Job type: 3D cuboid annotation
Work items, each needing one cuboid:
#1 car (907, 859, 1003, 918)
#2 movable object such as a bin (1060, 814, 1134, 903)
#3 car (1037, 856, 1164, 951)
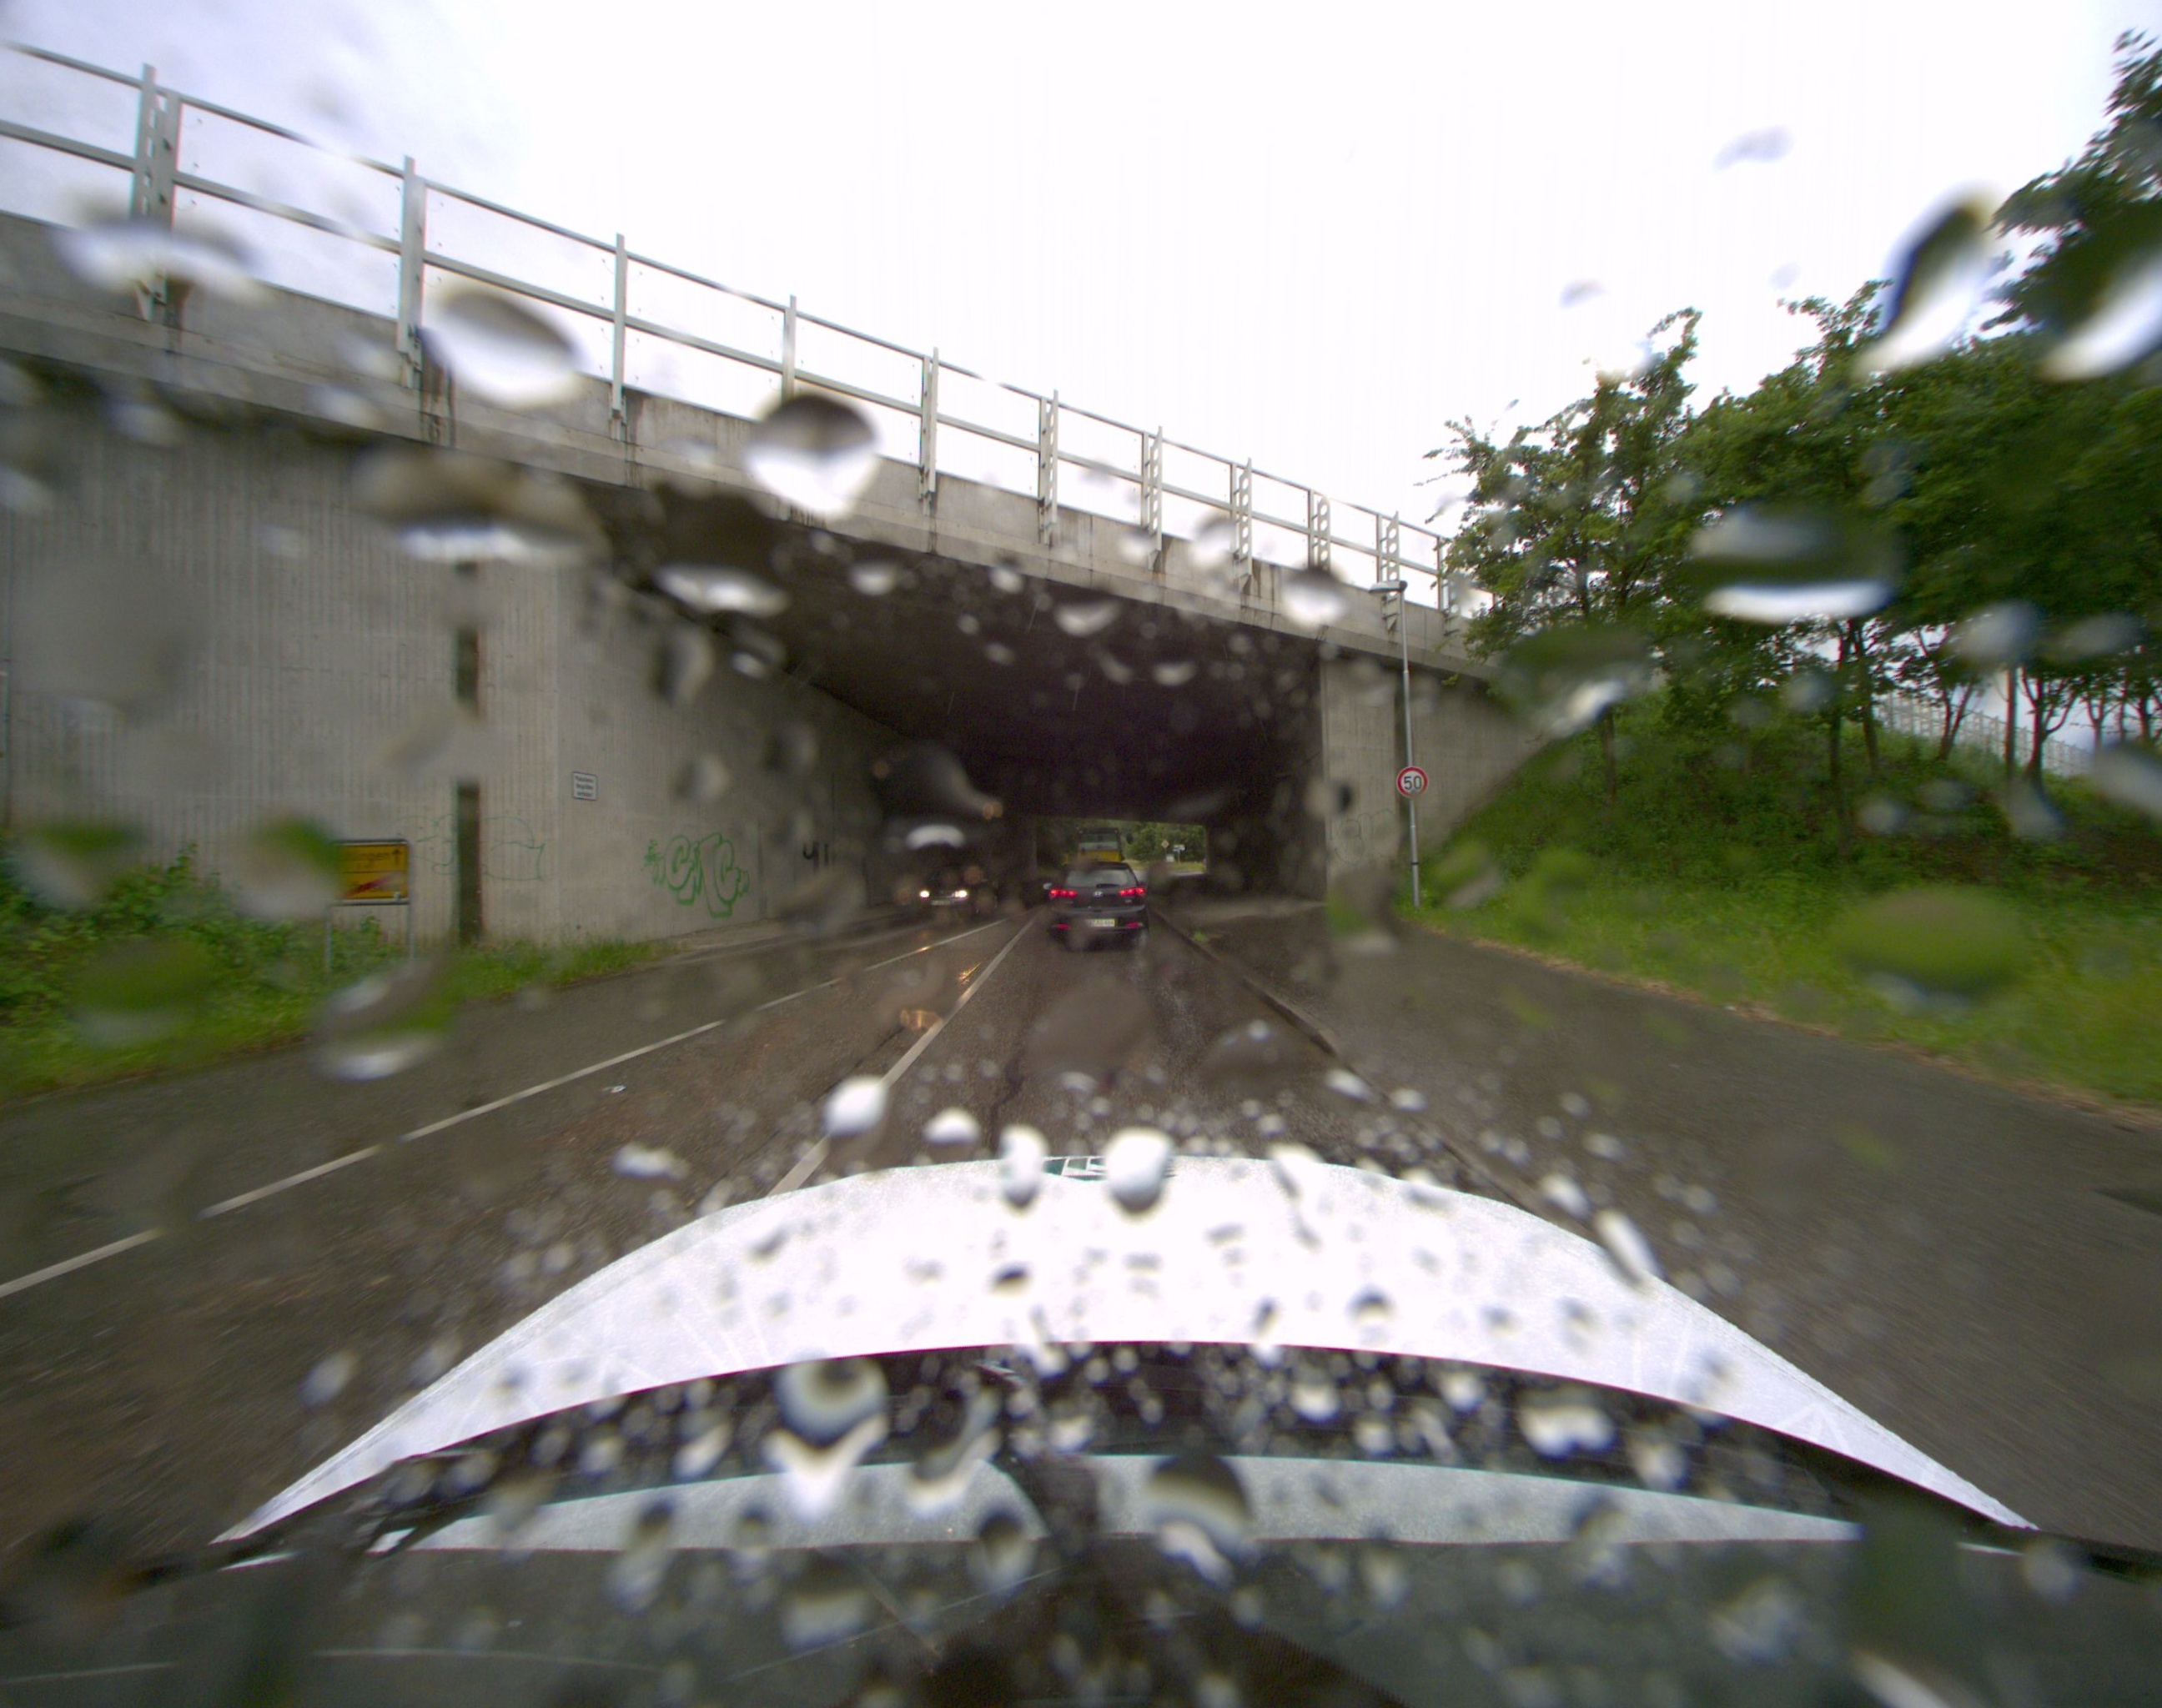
[{"bbox_3d":[-3.405,0.895,22.764,1.682,1.487,4.079,-1,0,5],"label":"car"},{"bbox_3d":[0.600,0.159,27.982,2.237,2.669,6.629,0,-1,2],"label":"movable object such as a bin"},{"bbox_3d":[0.379,0.799,14.836,1.986,1.487,4.002,0,-1,2],"label":"car"}]
